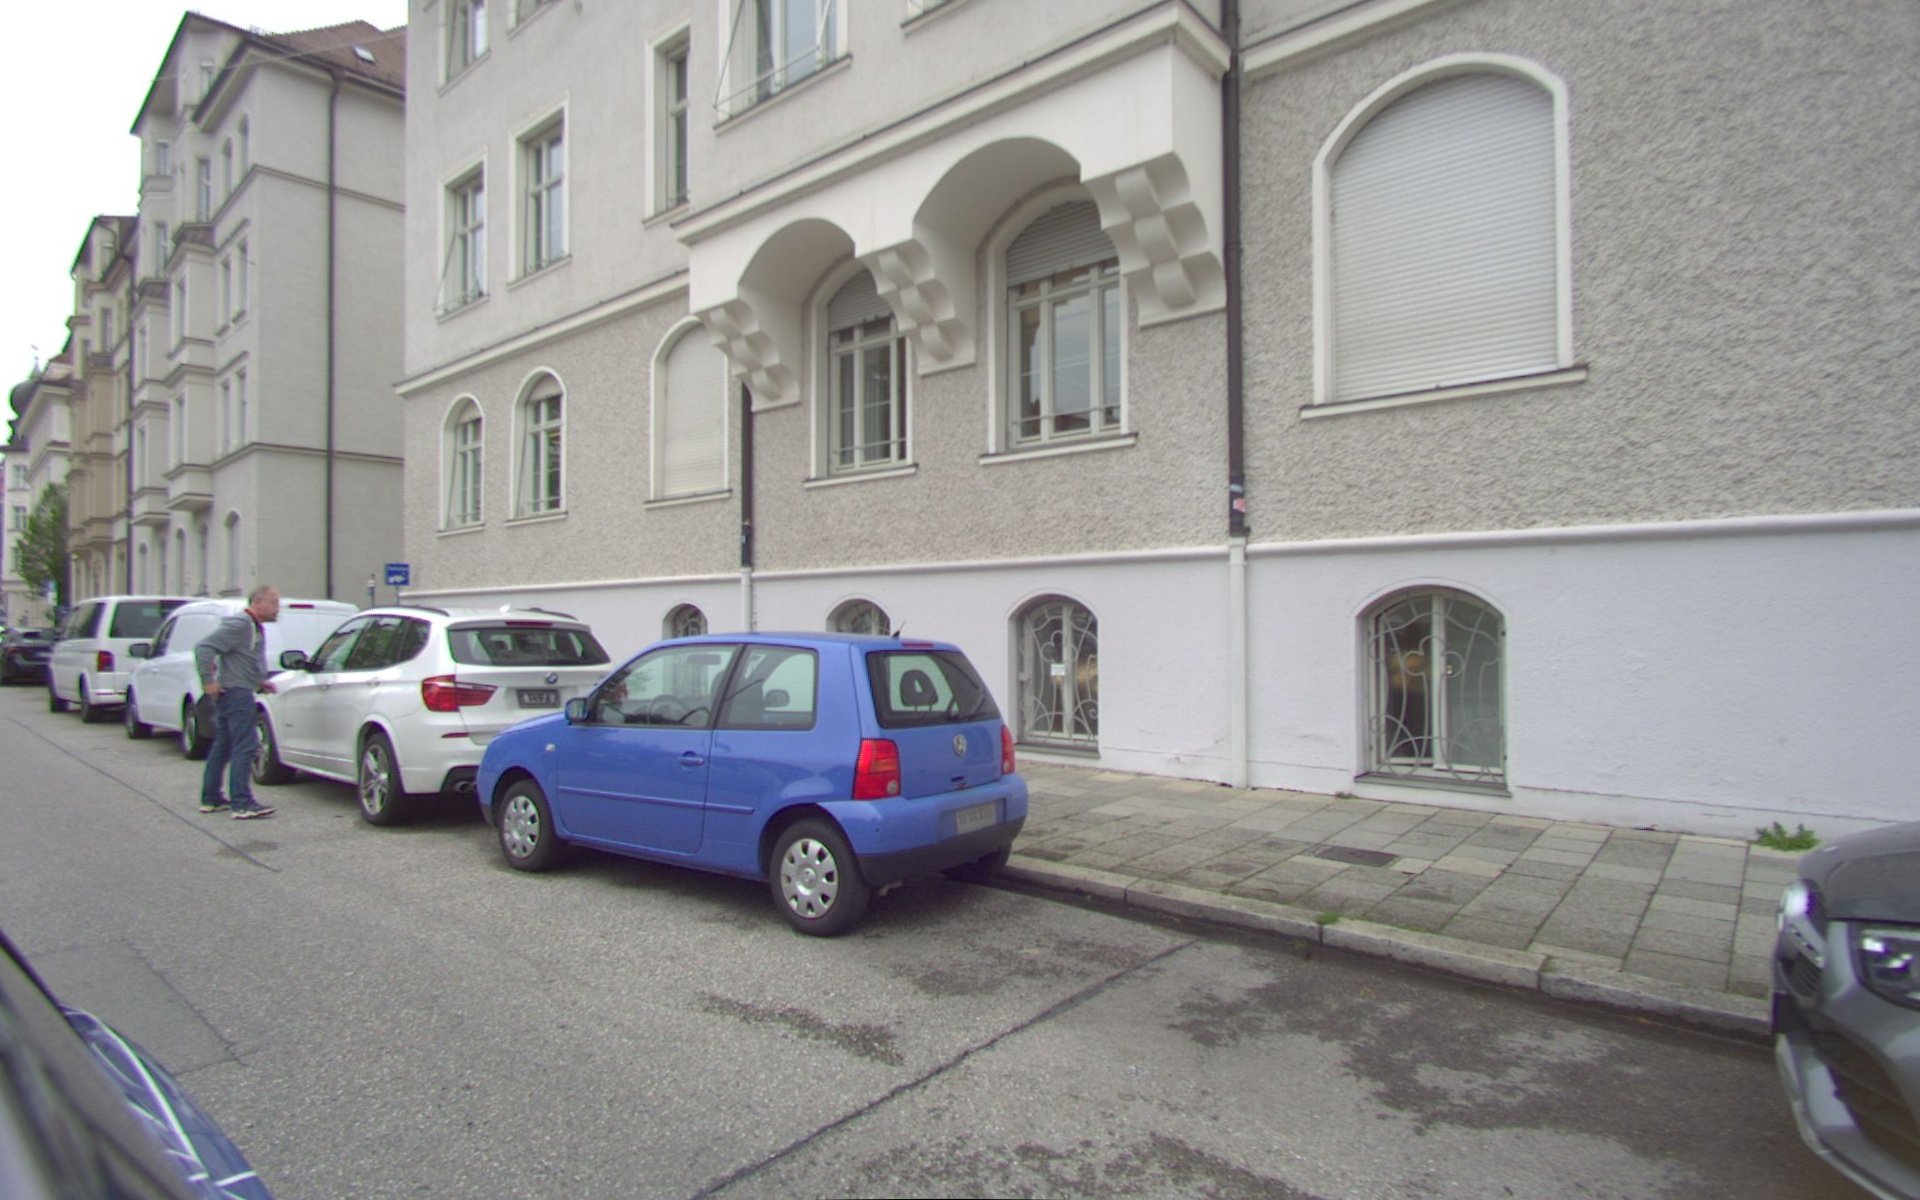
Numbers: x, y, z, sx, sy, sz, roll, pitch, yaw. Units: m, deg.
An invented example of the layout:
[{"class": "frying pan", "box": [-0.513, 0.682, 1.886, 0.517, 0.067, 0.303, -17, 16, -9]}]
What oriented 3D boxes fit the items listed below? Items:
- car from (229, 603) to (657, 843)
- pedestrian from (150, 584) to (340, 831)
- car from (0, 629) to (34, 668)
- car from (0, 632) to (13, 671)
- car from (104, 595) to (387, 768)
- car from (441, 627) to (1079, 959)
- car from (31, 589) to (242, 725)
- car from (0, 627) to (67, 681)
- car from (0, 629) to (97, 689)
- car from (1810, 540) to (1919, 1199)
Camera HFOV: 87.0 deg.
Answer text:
[{"class": "car", "box": [-4.728, 0.906, 8.948, 4.492, 1.614, 1.729, -2, -3, 40]}, {"class": "pedestrian", "box": [-5.563, 0.782, 7.896, 0.874, 1.769, 0.953, -2, -2, 33]}, {"class": "car", "box": [-34.924, 1.727, 36.620, 3.730, 1.373, 1.785, -2, -3, 44]}, {"class": "car", "box": [-38.596, 2.005, 39.894, 3.942, 1.467, 1.605, -2, -3, 44]}, {"class": "car", "box": [-9.210, 0.930, 12.862, 5.033, 1.802, 1.728, -2, -3, 41]}, {"class": "car", "box": [-1.293, 0.892, 6.097, 3.652, 1.425, 1.678, -1, -3, 34]}, {"class": "car", "box": [-13.851, 0.910, 16.915, 4.954, 1.953, 1.837, -2, -3, 41]}, {"class": "car", "box": [-27.568, 1.531, 29.434, 4.377, 1.475, 1.836, -2, -3, 41]}, {"class": "car", "box": [-23.833, 1.477, 26.023, 4.377, 1.423, 1.836, -2, -4, 41]}, {"class": "car", "box": [4.024, 0.678, 1.251, 4.492, 1.614, 1.729, -2, -3, 40]}]
